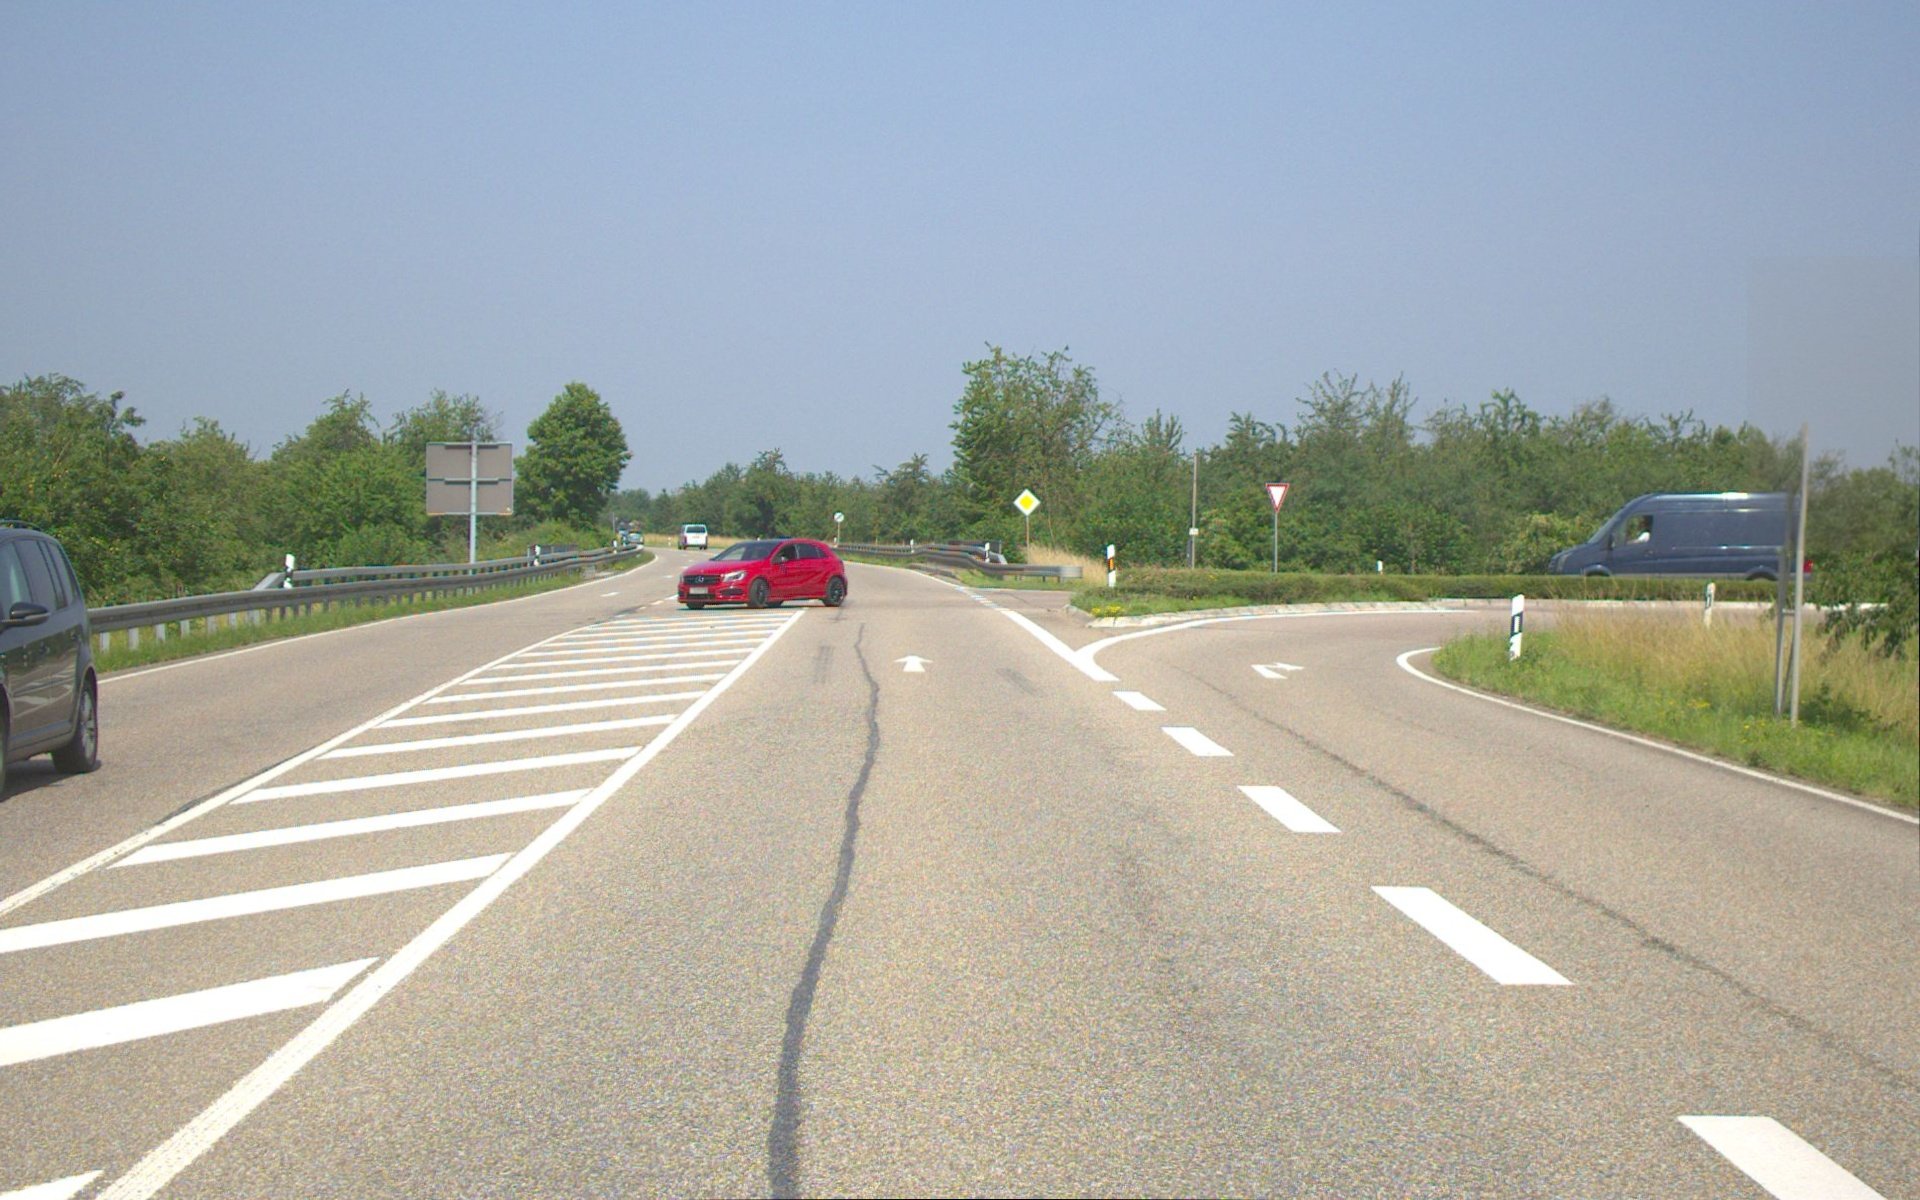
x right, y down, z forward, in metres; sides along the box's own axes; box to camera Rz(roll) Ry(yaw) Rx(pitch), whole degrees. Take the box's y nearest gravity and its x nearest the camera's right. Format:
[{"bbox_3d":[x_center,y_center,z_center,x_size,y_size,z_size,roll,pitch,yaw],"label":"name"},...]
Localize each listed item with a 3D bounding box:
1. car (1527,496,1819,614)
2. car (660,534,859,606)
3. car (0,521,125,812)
[{"bbox_3d":[16.164,-1.016,78.249,6.293,2.566,2.062,-1,0,6],"label":"car"},{"bbox_3d":[-4.117,-0.633,71.299,1.819,1.444,4.487,0,1,33],"label":"car"},{"bbox_3d":[-6.388,0.353,20.755,1.803,1.632,4.810,0,1,-4],"label":"car"}]
